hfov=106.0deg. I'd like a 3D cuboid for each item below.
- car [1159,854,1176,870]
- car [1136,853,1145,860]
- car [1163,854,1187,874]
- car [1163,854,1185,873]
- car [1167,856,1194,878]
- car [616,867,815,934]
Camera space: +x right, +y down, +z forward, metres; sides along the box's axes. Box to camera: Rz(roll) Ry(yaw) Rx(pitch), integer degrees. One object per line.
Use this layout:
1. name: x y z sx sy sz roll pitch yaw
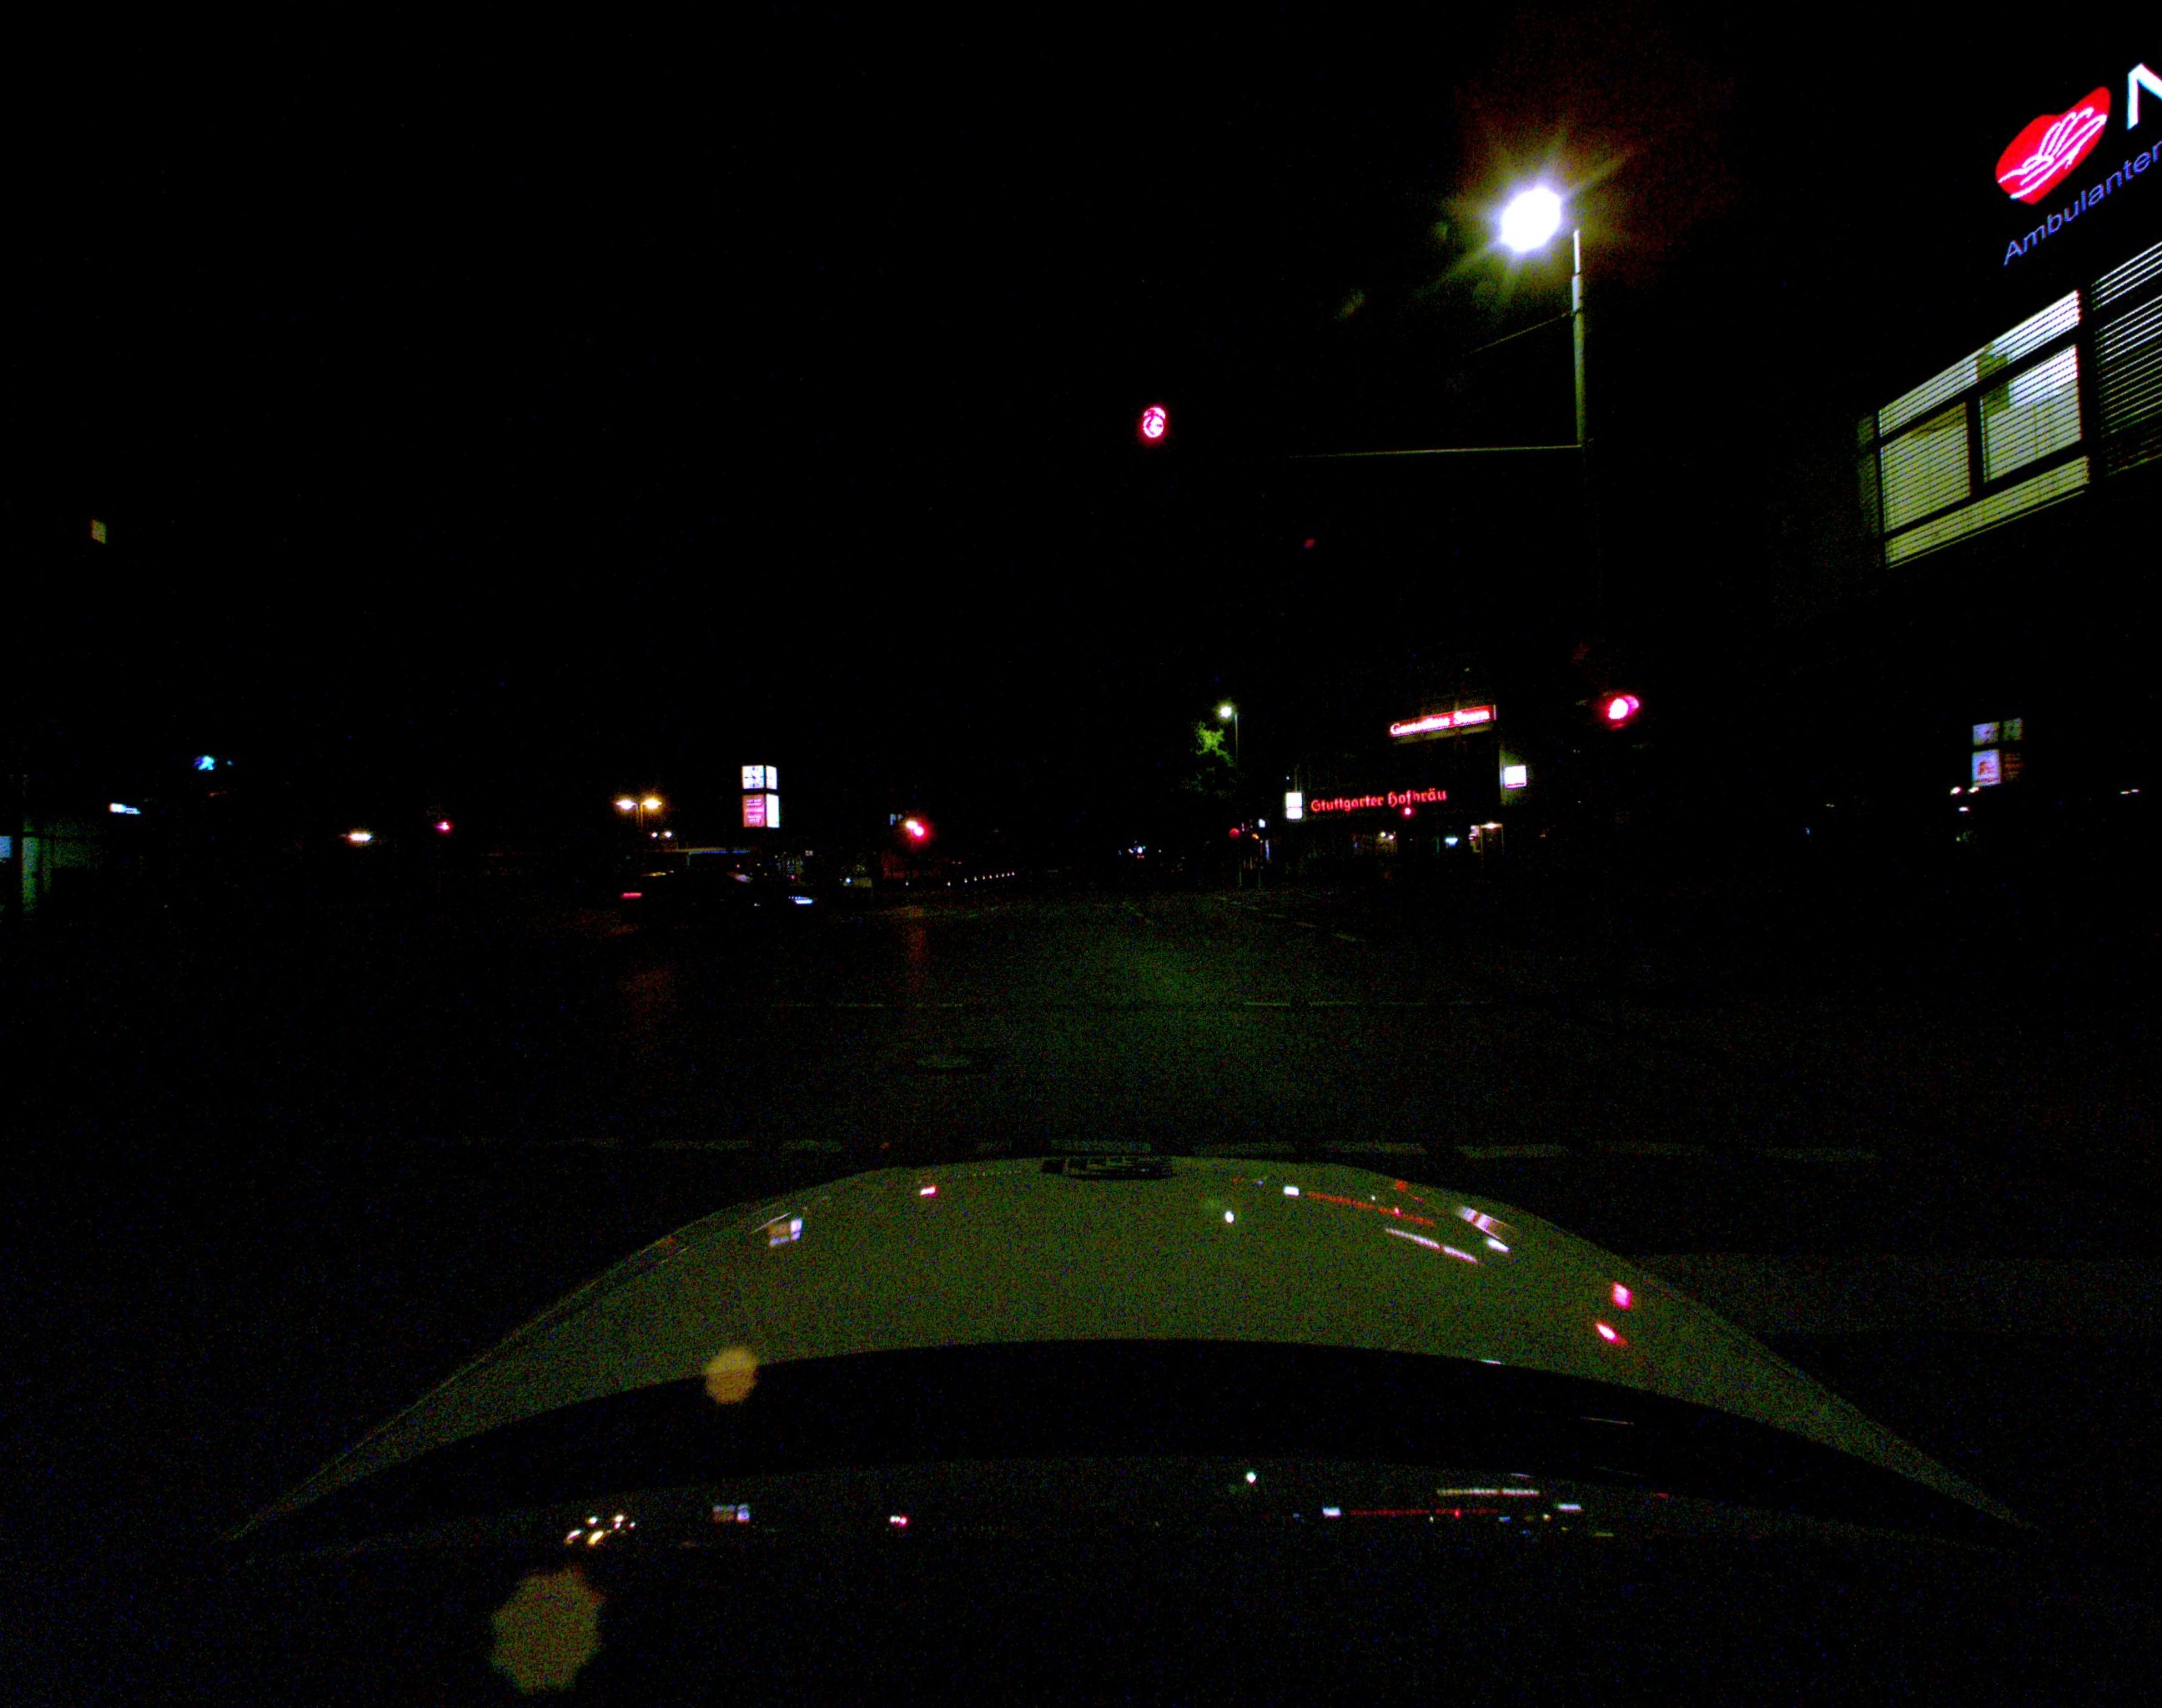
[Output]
1. car: 10.047 0.923 94.479 1.868 1.683 4.005 -2 -1 5
2. car: 15.007 0.641 207.005 2.218 1.651 4.003 -1 0 3
3. car: 7.885 0.832 68.781 1.868 1.615 4.005 -2 -1 5
4. car: 8.680 0.878 76.437 1.868 1.729 4.005 -2 -1 5
5. car: 7.713 0.961 63.486 1.868 1.615 4.005 -2 -1 5
6. car: -8.914 1.088 20.212 4.319 1.454 1.866 0 -1 -22
